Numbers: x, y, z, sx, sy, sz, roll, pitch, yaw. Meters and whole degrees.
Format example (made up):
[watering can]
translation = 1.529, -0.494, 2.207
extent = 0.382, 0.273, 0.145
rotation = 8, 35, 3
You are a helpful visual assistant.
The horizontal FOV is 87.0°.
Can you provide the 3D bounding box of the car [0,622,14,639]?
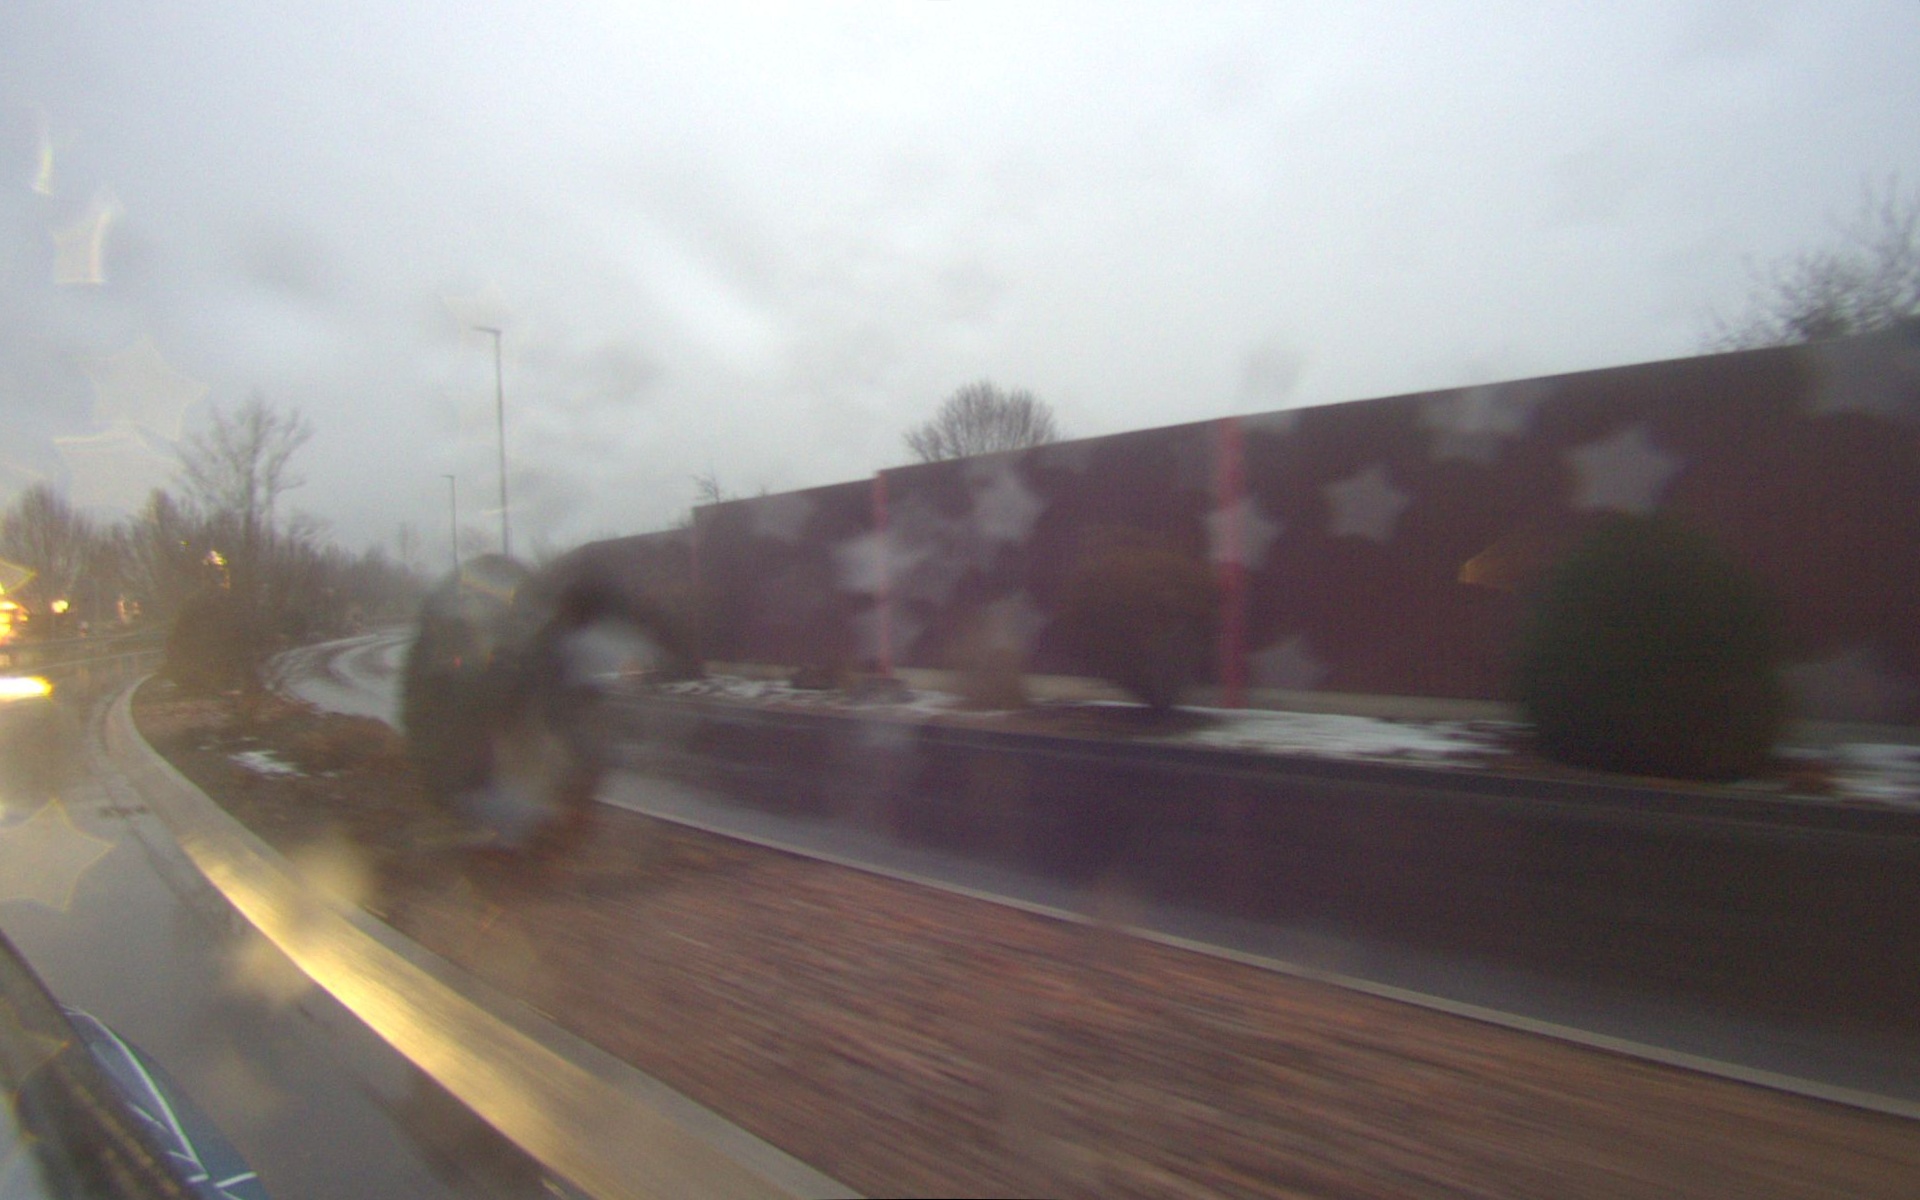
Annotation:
[car]
translation = -98.846, 3.121, 102.550
extent = 3.944, 1.609, 1.812
rotation = -1, 0, -26
